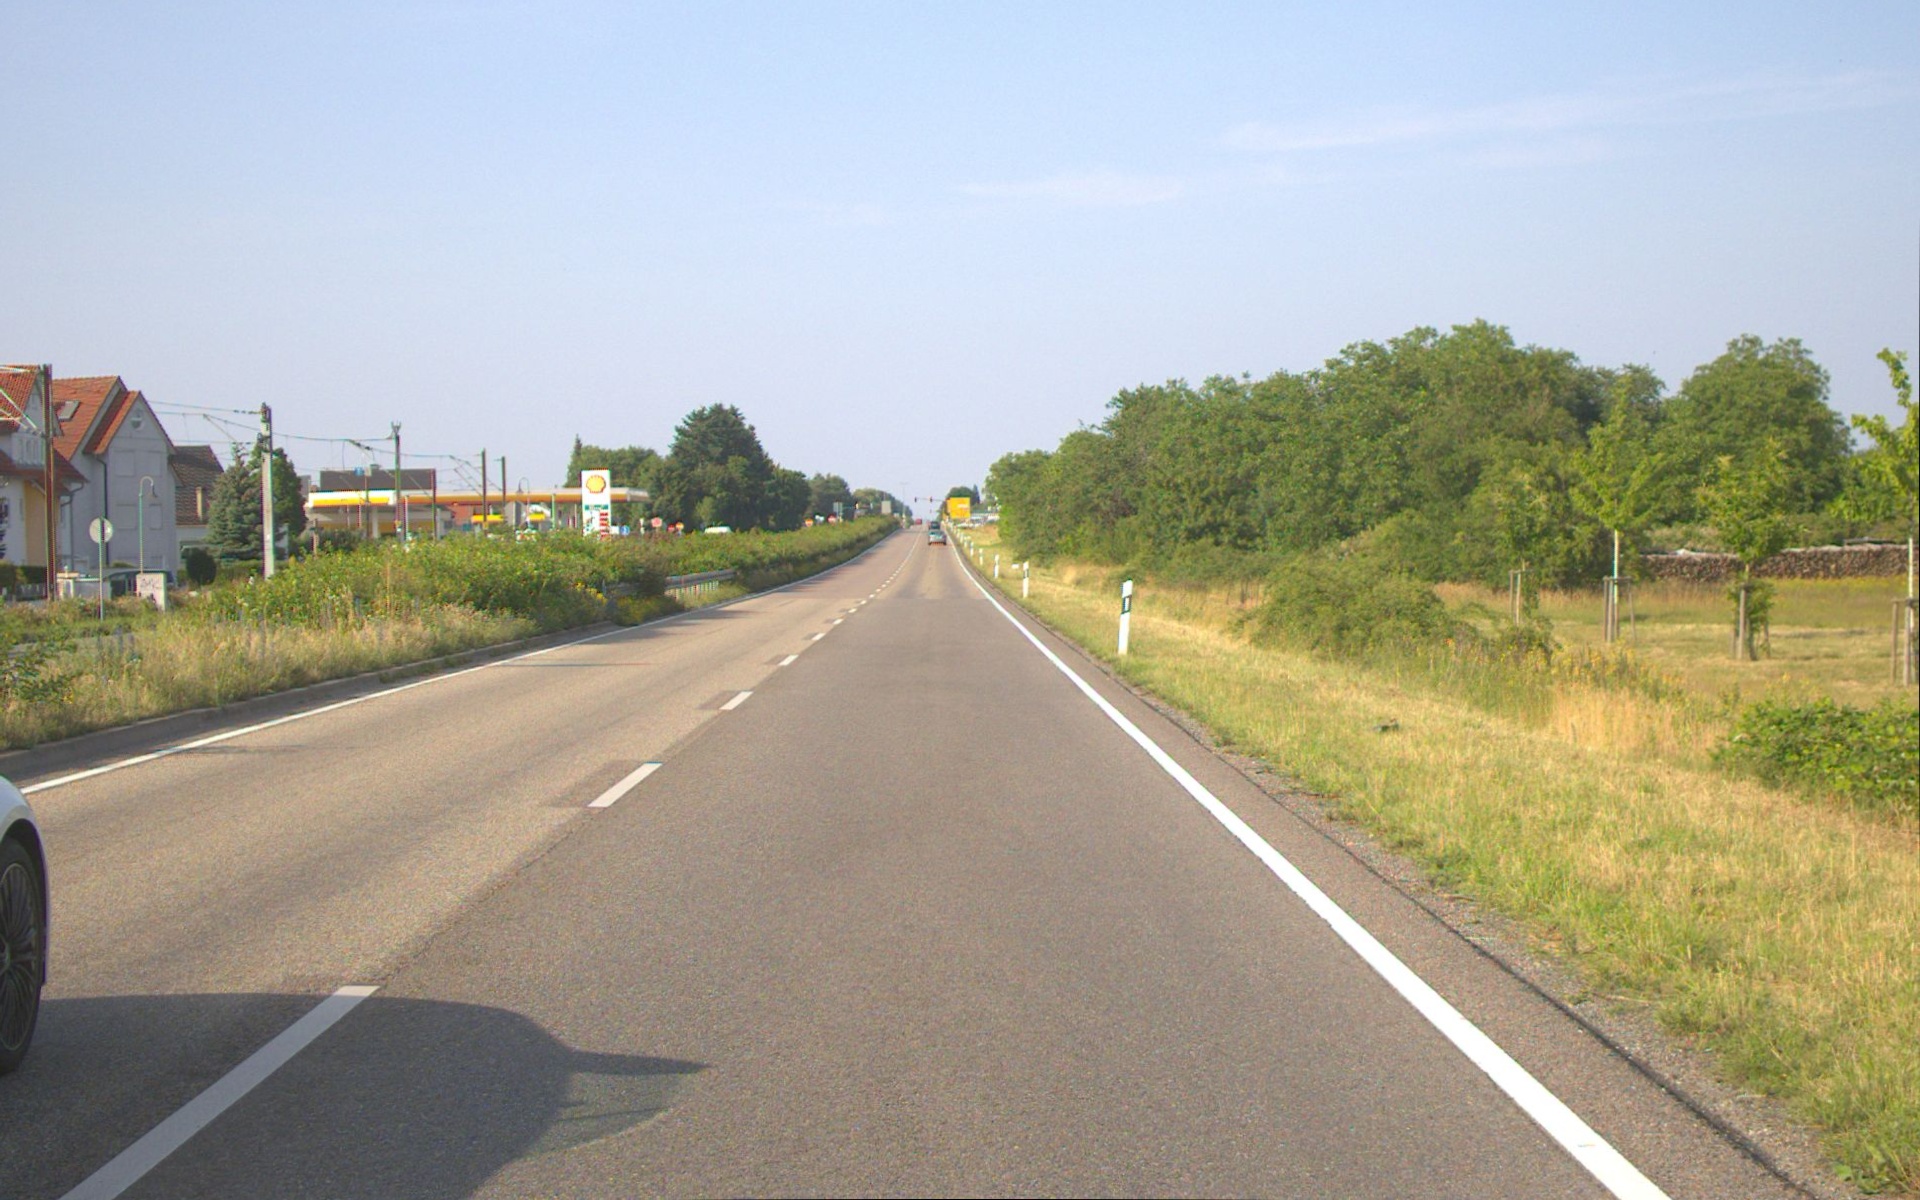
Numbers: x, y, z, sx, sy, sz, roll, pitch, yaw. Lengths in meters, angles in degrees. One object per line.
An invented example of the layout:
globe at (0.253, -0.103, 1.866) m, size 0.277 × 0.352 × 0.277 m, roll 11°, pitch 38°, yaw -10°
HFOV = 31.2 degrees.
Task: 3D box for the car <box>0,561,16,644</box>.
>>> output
car at (-17.314, 0.106, 57.819) m, size 1.660 × 1.426 × 4.326 m, roll -3°, pitch 1°, yaw -1°

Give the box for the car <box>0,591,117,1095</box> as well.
car at (-3.459, 0.677, 8.004) m, size 1.771 × 1.333 × 4.950 m, roll 1°, pitch 1°, yaw 0°
